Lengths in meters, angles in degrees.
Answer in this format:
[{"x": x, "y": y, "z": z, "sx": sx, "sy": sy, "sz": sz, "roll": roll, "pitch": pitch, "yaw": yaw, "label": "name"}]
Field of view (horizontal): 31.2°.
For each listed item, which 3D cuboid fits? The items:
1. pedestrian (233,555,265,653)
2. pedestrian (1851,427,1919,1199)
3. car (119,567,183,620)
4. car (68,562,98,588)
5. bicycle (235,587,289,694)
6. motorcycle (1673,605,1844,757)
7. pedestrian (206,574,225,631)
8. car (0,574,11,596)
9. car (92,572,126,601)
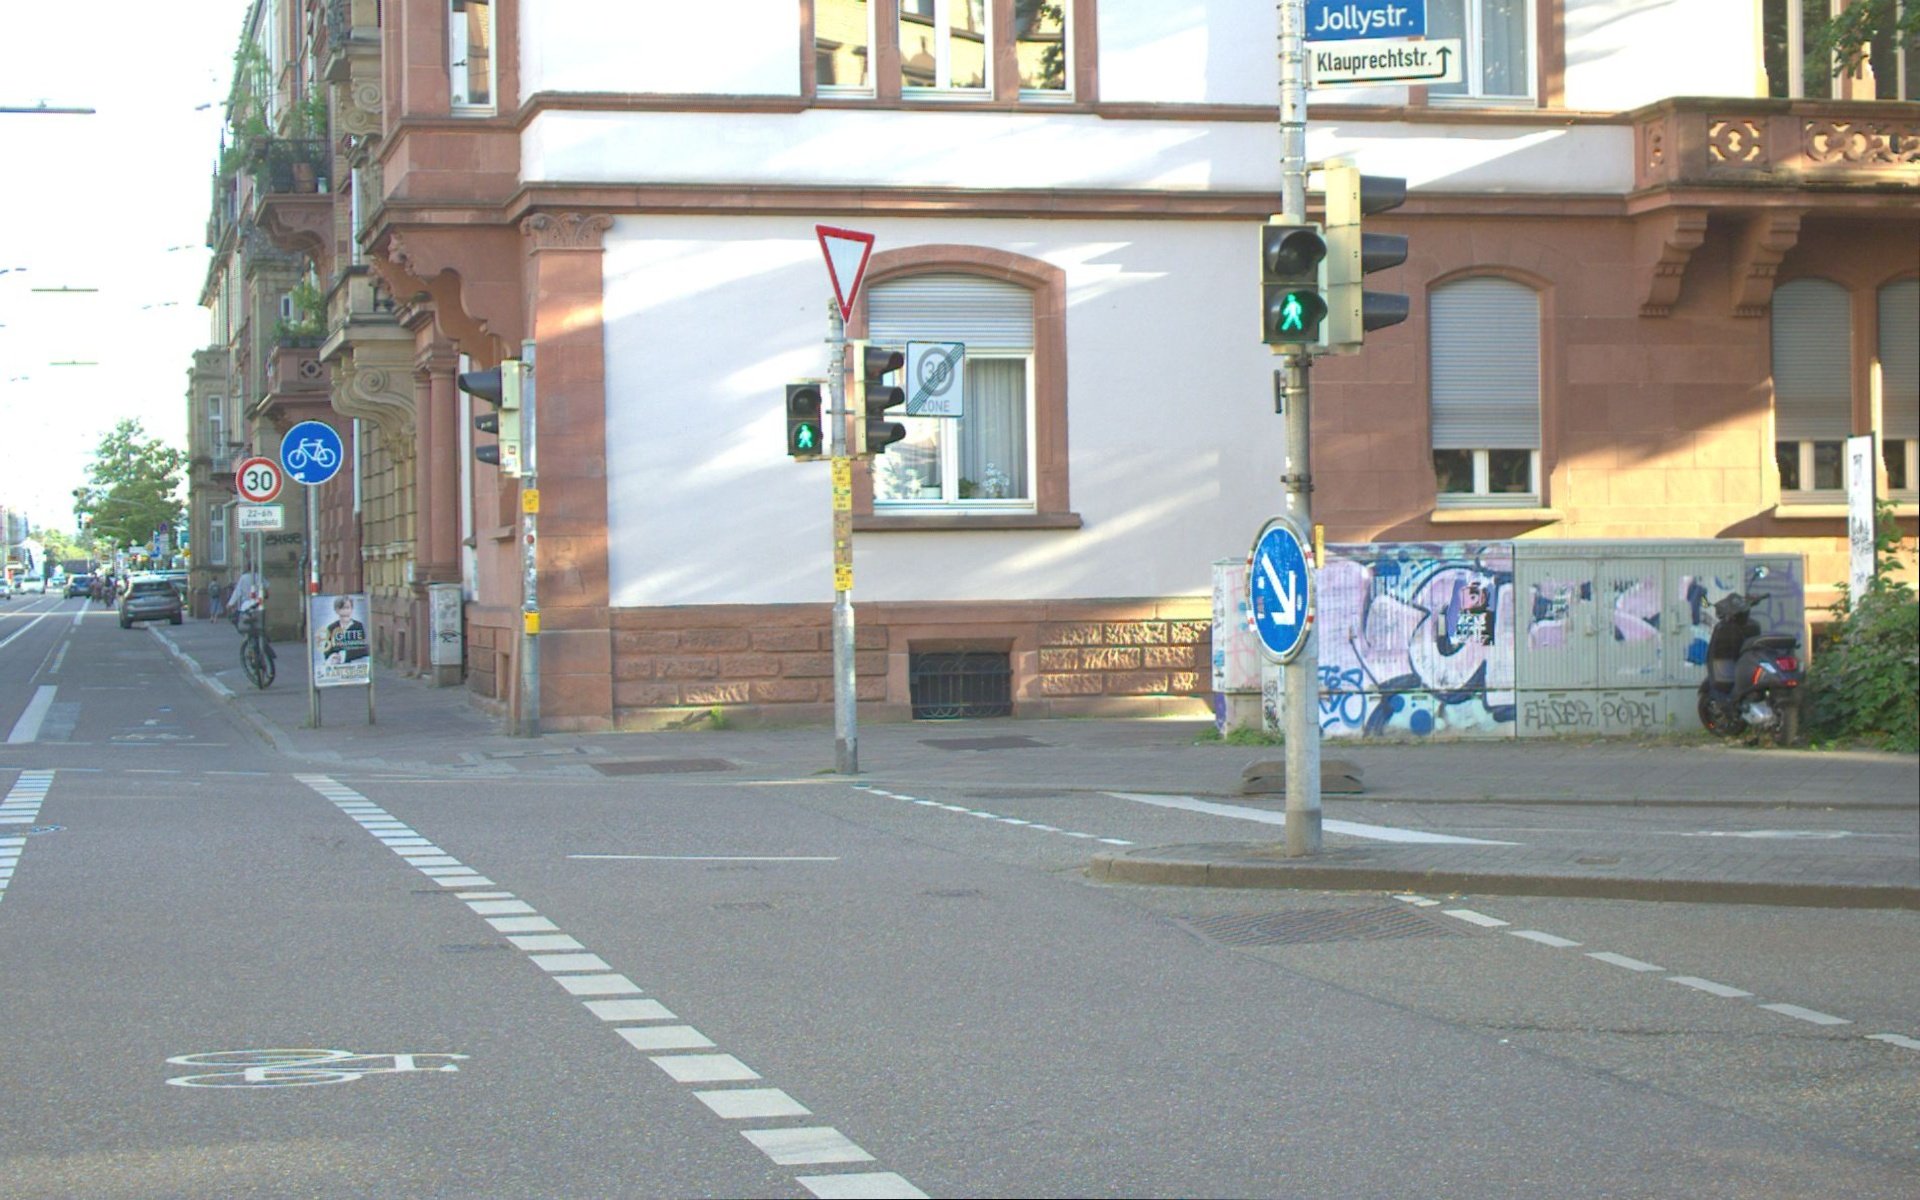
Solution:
[{"x": -13.054, "y": 0.070, "z": 63.150, "sx": 0.544, "sy": 1.774, "sz": 0.504, "roll": -1, "pitch": 0, "yaw": -13, "label": "pedestrian"}, {"x": 2.651, "y": 0.505, "z": 8.134, "sx": 0.805, "sy": 1.794, "sz": 0.761, "roll": 3, "pitch": 1, "yaw": 2, "label": "pedestrian"}, {"x": -26.165, "y": -0.217, "z": 111.328, "sx": 1.949, "sy": 1.678, "sz": 4.001, "roll": -1, "pitch": 1, "yaw": -13, "label": "car"}, {"x": -61.307, "y": -1.744, "z": 240.308, "sx": 1.993, "sy": 1.722, "sz": 4.001, "roll": 0, "pitch": 0, "yaw": -14, "label": "car"}, {"x": -8.936, "y": 0.507, "z": 44.020, "sx": 0.653, "sy": 1.319, "sz": 2.177, "roll": -1, "pitch": 1, "yaw": -11, "label": "bicycle"}, {"x": 6.203, "y": 0.606, "z": 26.812, "sx": 0.719, "sy": 1.016, "sz": 2.287, "roll": -1, "pitch": 3, "yaw": -2, "label": "motorcycle"}, {"x": -23.276, "y": 0.074, "z": 107.499, "sx": 0.544, "sy": 1.774, "sz": 0.749, "roll": -1, "pitch": 0, "yaw": -13, "label": "pedestrian"}, {"x": -66.089, "y": -1.012, "z": 235.766, "sx": 1.819, "sy": 1.437, "sz": 4.001, "roll": 0, "pitch": 0, "yaw": -14, "label": "car"}, {"x": -51.096, "y": -0.811, "z": 206.360, "sx": 1.993, "sy": 1.722, "sz": 4.001, "roll": 0, "pitch": 0, "yaw": -14, "label": "car"}]
